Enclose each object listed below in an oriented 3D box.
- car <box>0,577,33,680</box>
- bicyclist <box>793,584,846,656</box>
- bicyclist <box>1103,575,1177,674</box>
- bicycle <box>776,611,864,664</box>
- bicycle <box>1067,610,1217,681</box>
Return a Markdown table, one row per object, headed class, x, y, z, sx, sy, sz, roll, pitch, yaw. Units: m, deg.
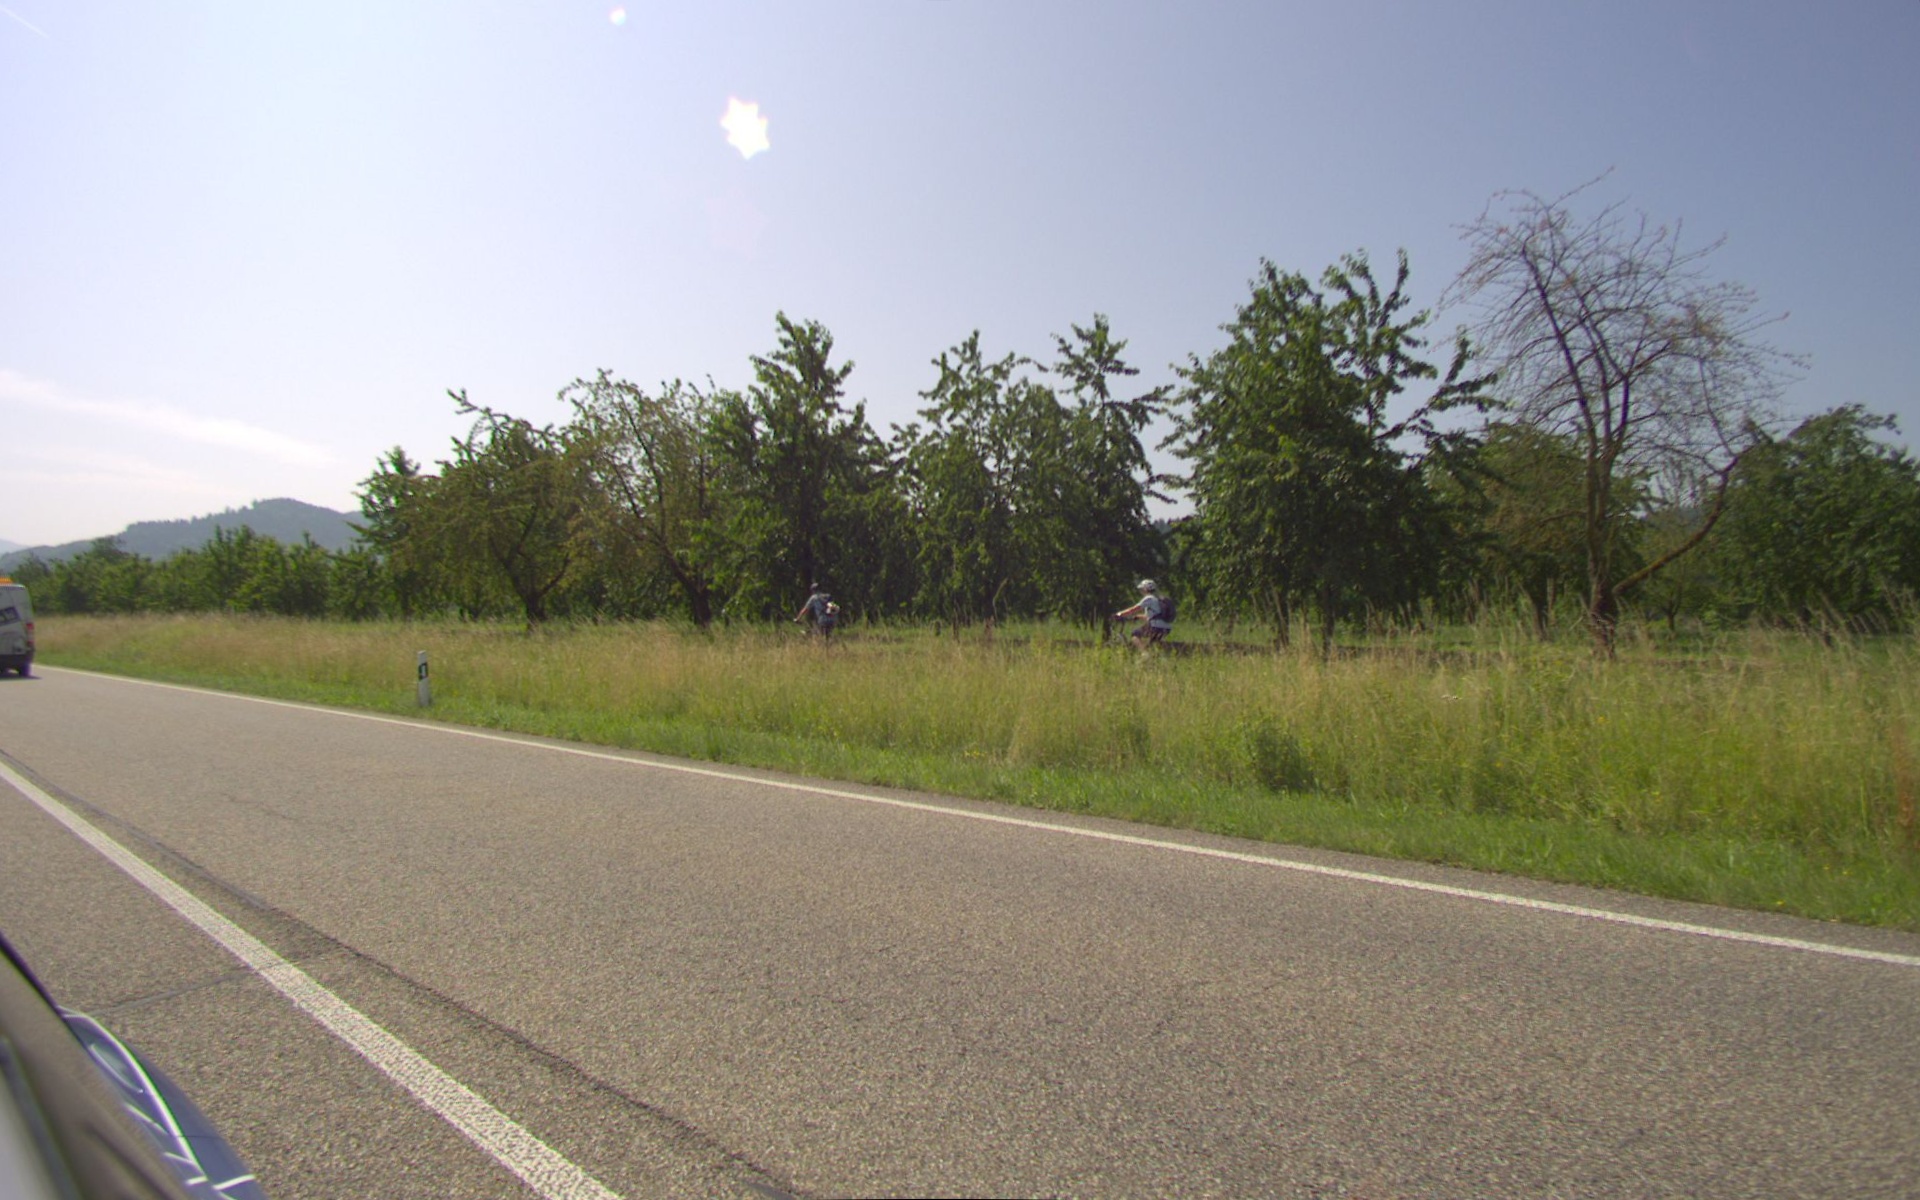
| class | x | y | z | sx | sy | sz | roll | pitch | yaw |
| --- | --- | --- | --- | --- | --- | --- | --- | --- | --- |
| car | -27.753 | 0.786 | 28.114 | 6.138 | 2.689 | 2.139 | -1 | 0 | 40 |
| bicyclist | -2.835 | 0.393 | 20.406 | 0.863 | 1.425 | 0.635 | 0 | 0 | 41 |
| bicyclist | 2.767 | 0.367 | 15.576 | 0.863 | 1.466 | 0.732 | 0 | 0 | 41 |
| bicycle | -2.837 | 0.738 | 20.410 | 1.955 | 0.997 | 0.642 | 0 | 0 | 42 |
| bicycle | 2.772 | 0.671 | 15.572 | 2.224 | 0.997 | 0.732 | 0 | 0 | 42 |
